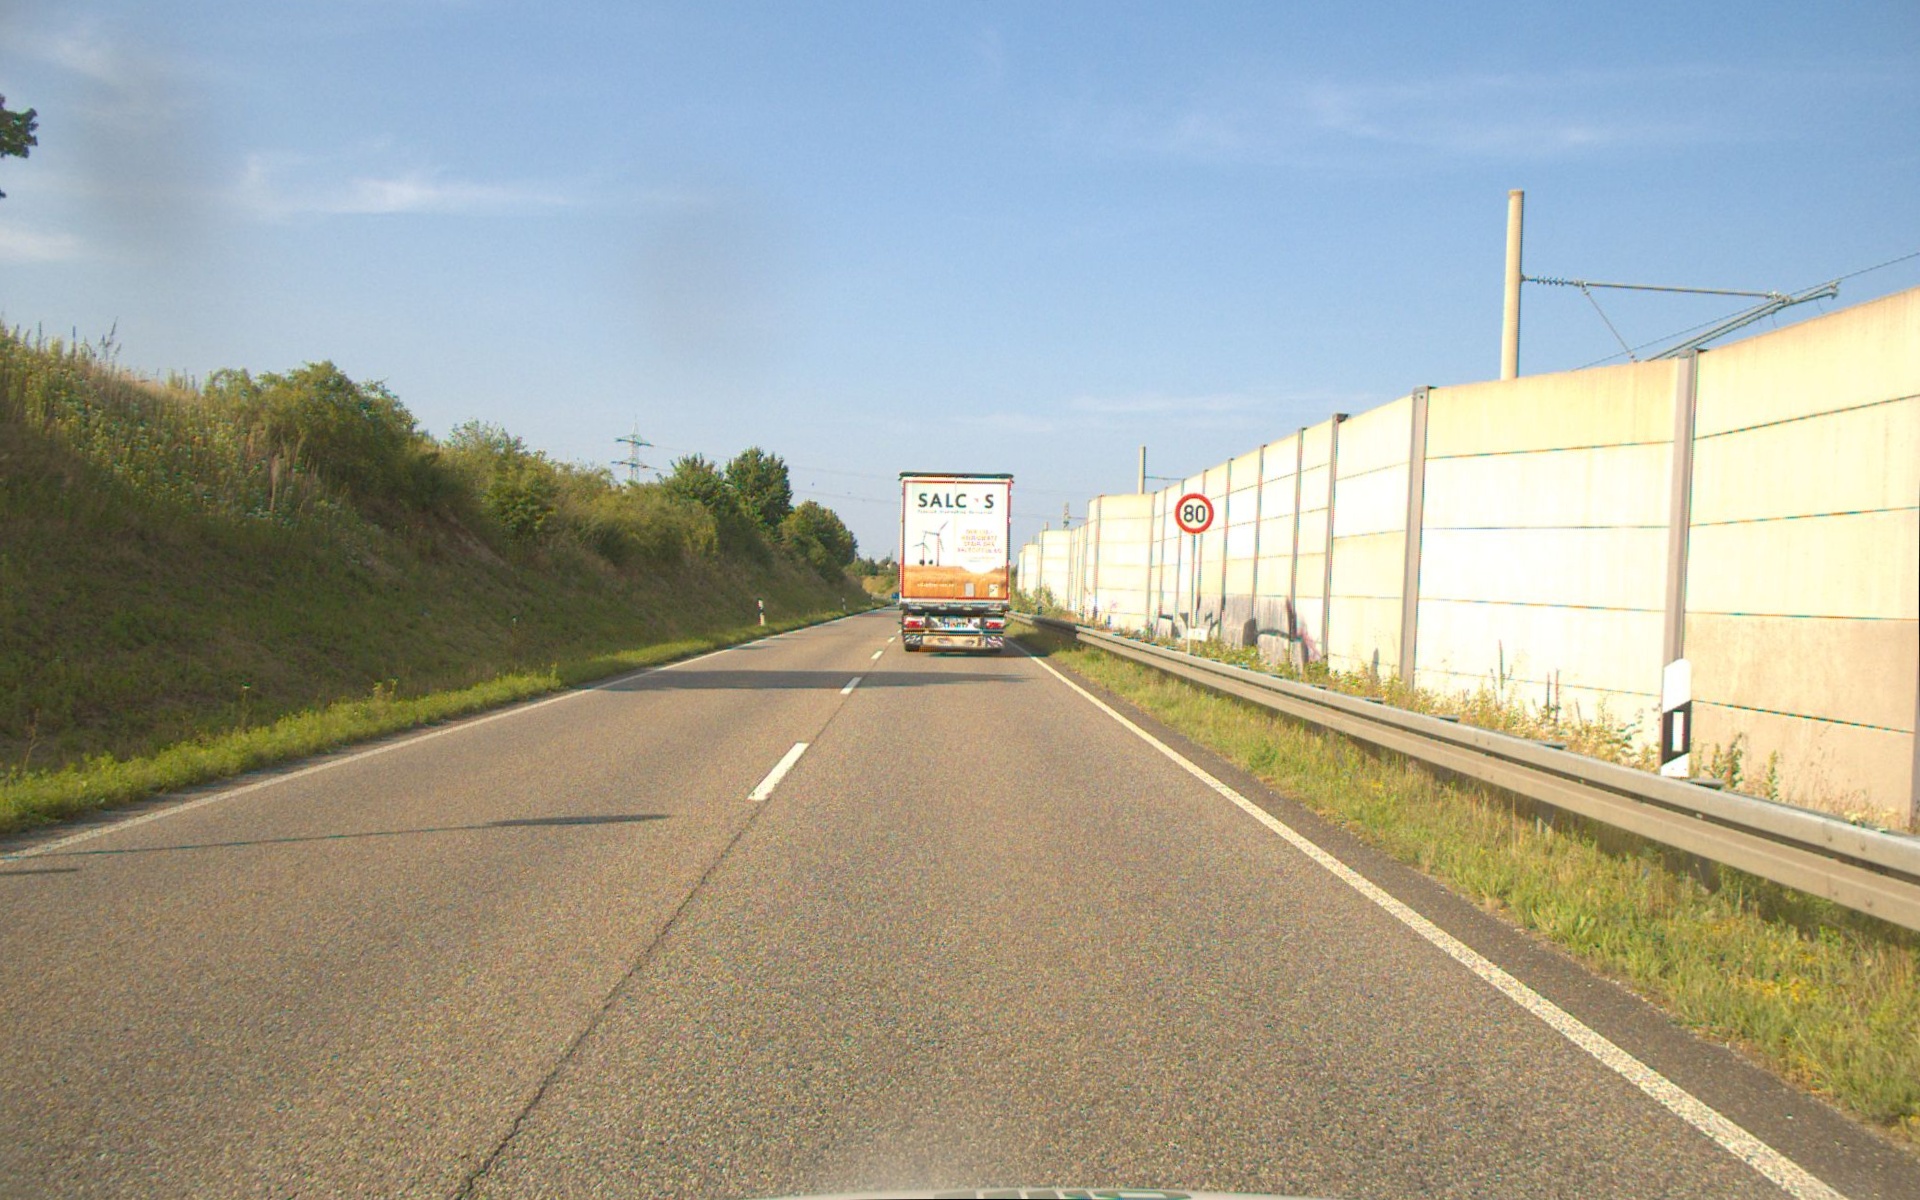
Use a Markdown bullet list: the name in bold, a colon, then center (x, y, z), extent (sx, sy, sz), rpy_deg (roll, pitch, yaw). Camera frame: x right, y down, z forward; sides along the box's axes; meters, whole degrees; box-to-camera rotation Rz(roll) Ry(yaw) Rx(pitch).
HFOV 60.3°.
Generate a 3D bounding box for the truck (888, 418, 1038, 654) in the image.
- **truck**: center (-0.192, -1.491, 42.926), extent (3.225, 5.178, 12.032), rpy_deg (1, 1, -3)
